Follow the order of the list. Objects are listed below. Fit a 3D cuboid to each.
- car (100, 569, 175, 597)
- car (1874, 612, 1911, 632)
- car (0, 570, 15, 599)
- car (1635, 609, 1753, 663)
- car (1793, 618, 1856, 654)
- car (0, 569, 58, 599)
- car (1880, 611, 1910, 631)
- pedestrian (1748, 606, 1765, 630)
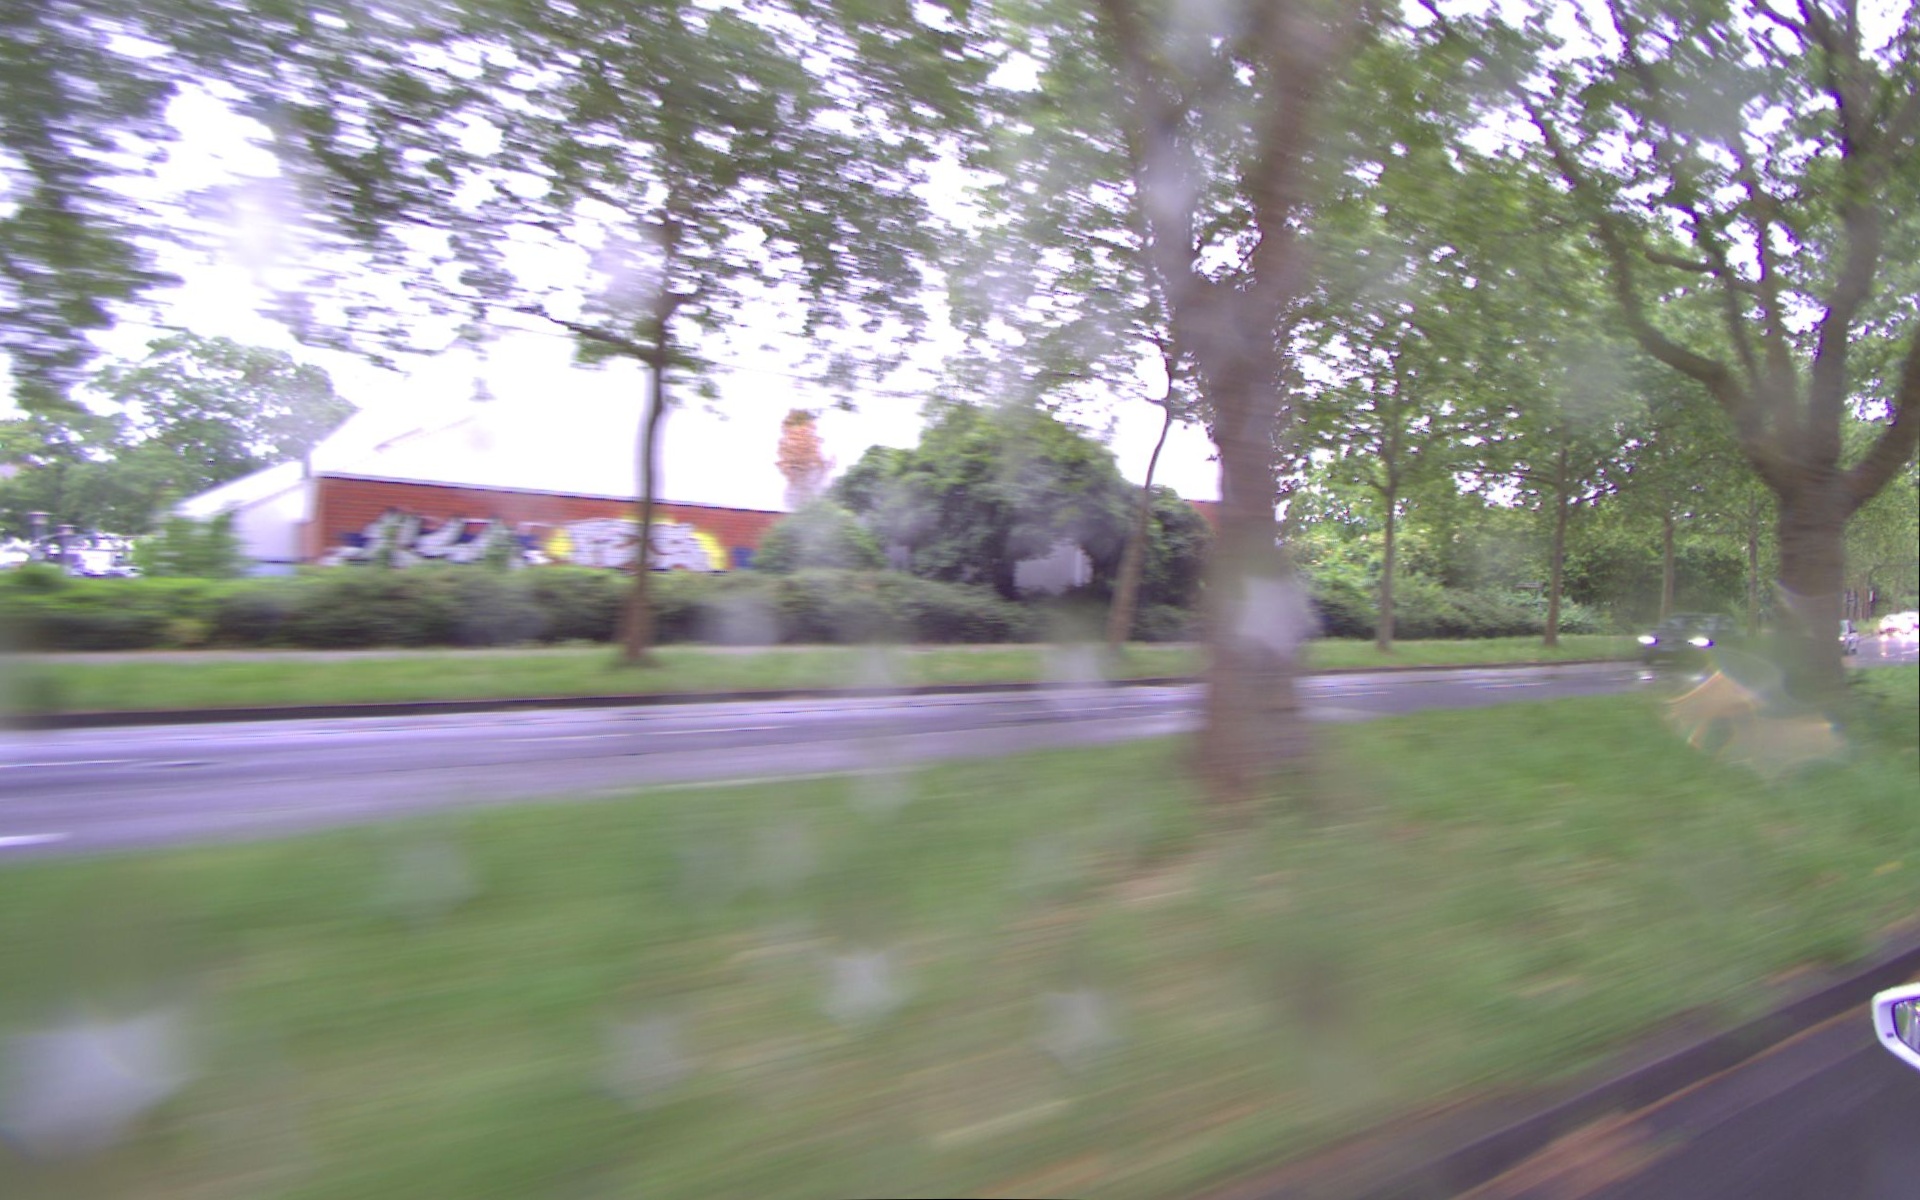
[{"bbox_3d":[-62.365,-1.278,76.173,4.407,1.927,2.001,2,1,10],"label":"car"},{"bbox_3d":[73.313,1.735,78.922,4.051,1.496,1.728,1,0,-41],"label":"car"},{"bbox_3d":[-65.644,-1.065,66.728,4.408,1.927,2.114,2,1,13],"label":"car"},{"bbox_3d":[23.298,1.118,31.844,4.325,1.582,1.731,1,0,-36],"label":"car"},{"bbox_3d":[38.302,1.547,44.478,3.815,1.479,1.726,1,0,-44],"label":"car"},{"bbox_3d":[-65.557,-1.133,69.813,4.407,1.927,2.001,2,1,10],"label":"car"},{"bbox_3d":[84.546,1.889,90.801,4.179,1.613,1.727,-2,1,-43],"label":"car"},{"bbox_3d":[55.784,1.270,70.374,0.894,1.696,0.822,1,0,-44],"label":"pedestrian"}]
